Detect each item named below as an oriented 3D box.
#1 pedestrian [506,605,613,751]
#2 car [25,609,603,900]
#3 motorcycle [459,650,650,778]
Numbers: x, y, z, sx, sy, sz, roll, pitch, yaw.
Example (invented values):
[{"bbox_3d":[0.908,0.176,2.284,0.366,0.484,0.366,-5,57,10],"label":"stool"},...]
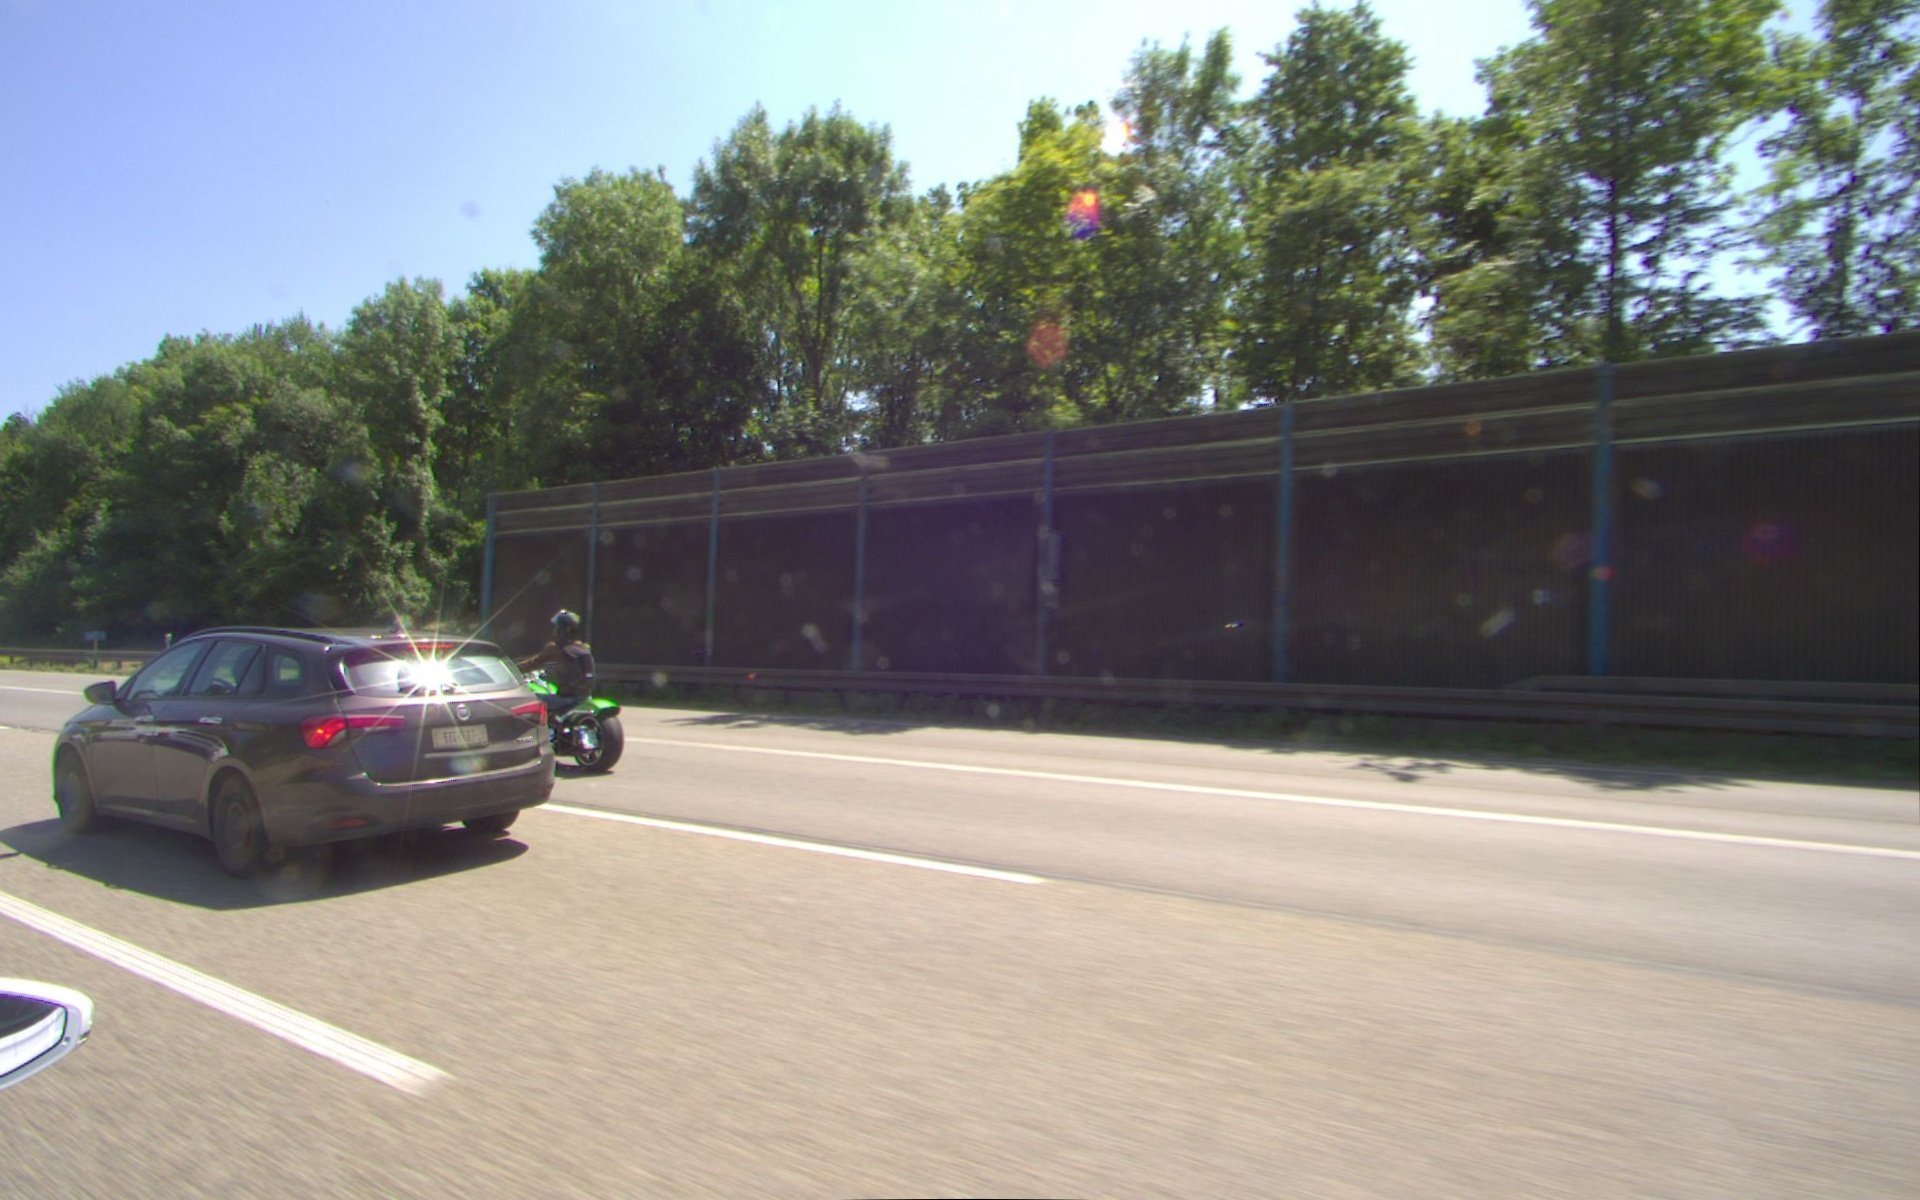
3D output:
[{"bbox_3d":[-4.298,0.813,10.777,0.630,1.498,0.849,0,-1,36],"label":"pedestrian"},{"bbox_3d":[-4.782,0.858,7.257,4.338,1.532,1.836,0,-2,32],"label":"car"},{"bbox_3d":[-4.428,1.171,10.871,2.246,1.197,0.857,0,-1,36],"label":"motorcycle"}]
